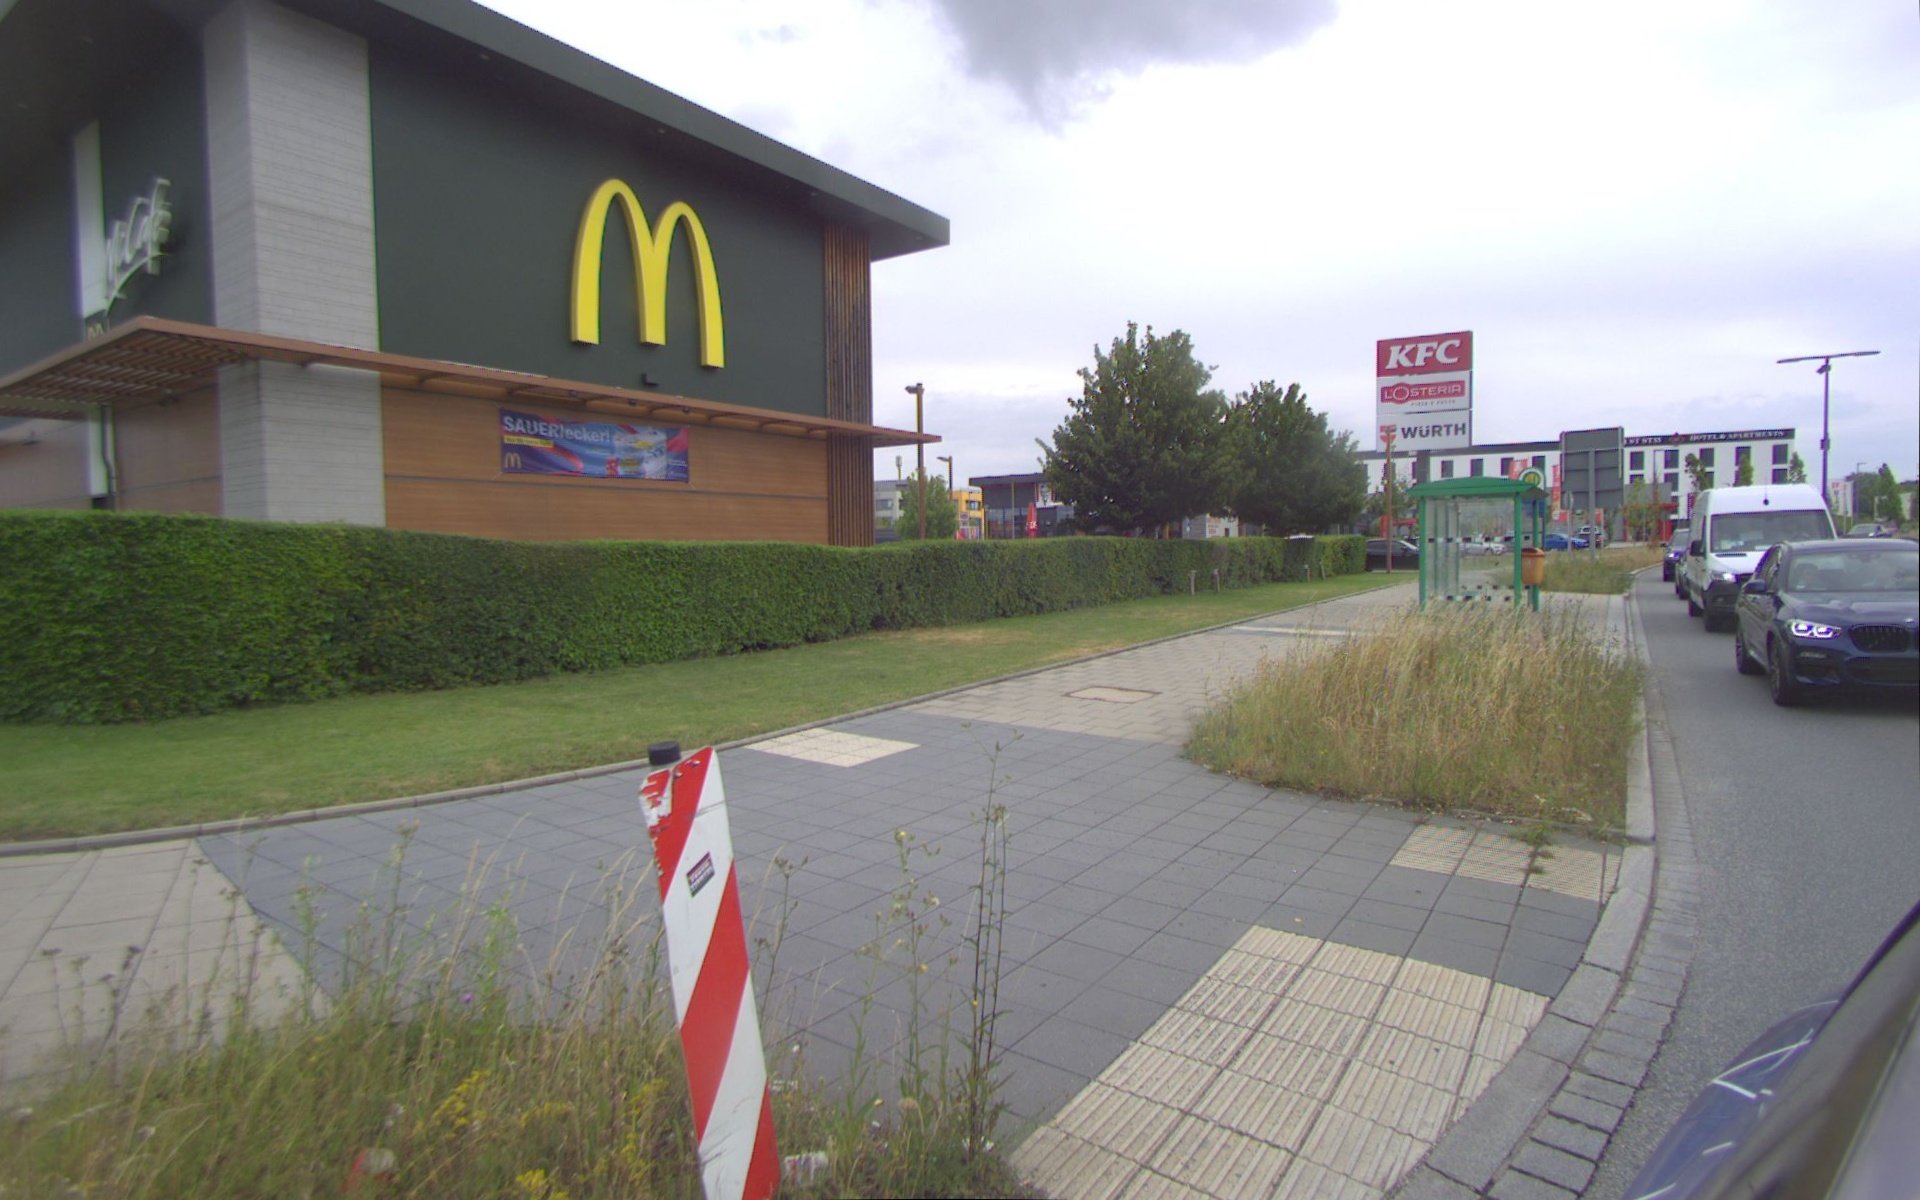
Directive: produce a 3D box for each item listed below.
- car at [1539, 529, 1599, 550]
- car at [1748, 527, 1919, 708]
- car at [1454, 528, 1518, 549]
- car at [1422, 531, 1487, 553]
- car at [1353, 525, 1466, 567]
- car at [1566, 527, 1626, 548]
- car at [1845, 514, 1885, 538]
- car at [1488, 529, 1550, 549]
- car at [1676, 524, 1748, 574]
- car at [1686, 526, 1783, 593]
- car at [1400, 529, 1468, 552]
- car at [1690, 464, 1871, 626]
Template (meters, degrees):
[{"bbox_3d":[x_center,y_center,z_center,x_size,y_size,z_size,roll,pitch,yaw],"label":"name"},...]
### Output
[{"bbox_3d":[52.100,-5.154,86.639,1.815,1.504,3.997,-5,3,-38],"label":"car"},{"bbox_3d":[9.835,0.056,10.844,1.855,1.627,3.955,0,4,33],"label":"car"},{"bbox_3d":[40.414,-4.747,77.850,1.817,1.504,3.992,-4,4,-42],"label":"car"},{"bbox_3d":[36.719,-4.307,75.174,3.986,1.504,1.820,1,4,43],"label":"car"},{"bbox_3d":[18.921,-2.256,42.665,3.979,1.504,1.823,-1,3,39],"label":"car"},{"bbox_3d":[54.700,-5.361,87.110,1.815,1.504,3.997,-5,3,-38],"label":"car"},{"bbox_3d":[66.514,-5.429,74.364,1.994,1.593,3.938,-1,4,45],"label":"car"},{"bbox_3d":[44.641,-4.839,80.869,1.817,1.504,3.992,-4,4,-42],"label":"car"},{"bbox_3d":[25.890,-1.782,34.948,1.857,1.627,3.952,1,4,35],"label":"car"},{"bbox_3d":[20.465,-1.121,26.873,1.857,1.627,3.952,1,4,35],"label":"car"},{"bbox_3d":[33.338,-4.163,71.267,3.986,1.540,1.819,1,4,43],"label":"car"},{"bbox_3d":[15.232,-1.057,19.133,2.013,2.558,6.035,0,3,33],"label":"car"}]
